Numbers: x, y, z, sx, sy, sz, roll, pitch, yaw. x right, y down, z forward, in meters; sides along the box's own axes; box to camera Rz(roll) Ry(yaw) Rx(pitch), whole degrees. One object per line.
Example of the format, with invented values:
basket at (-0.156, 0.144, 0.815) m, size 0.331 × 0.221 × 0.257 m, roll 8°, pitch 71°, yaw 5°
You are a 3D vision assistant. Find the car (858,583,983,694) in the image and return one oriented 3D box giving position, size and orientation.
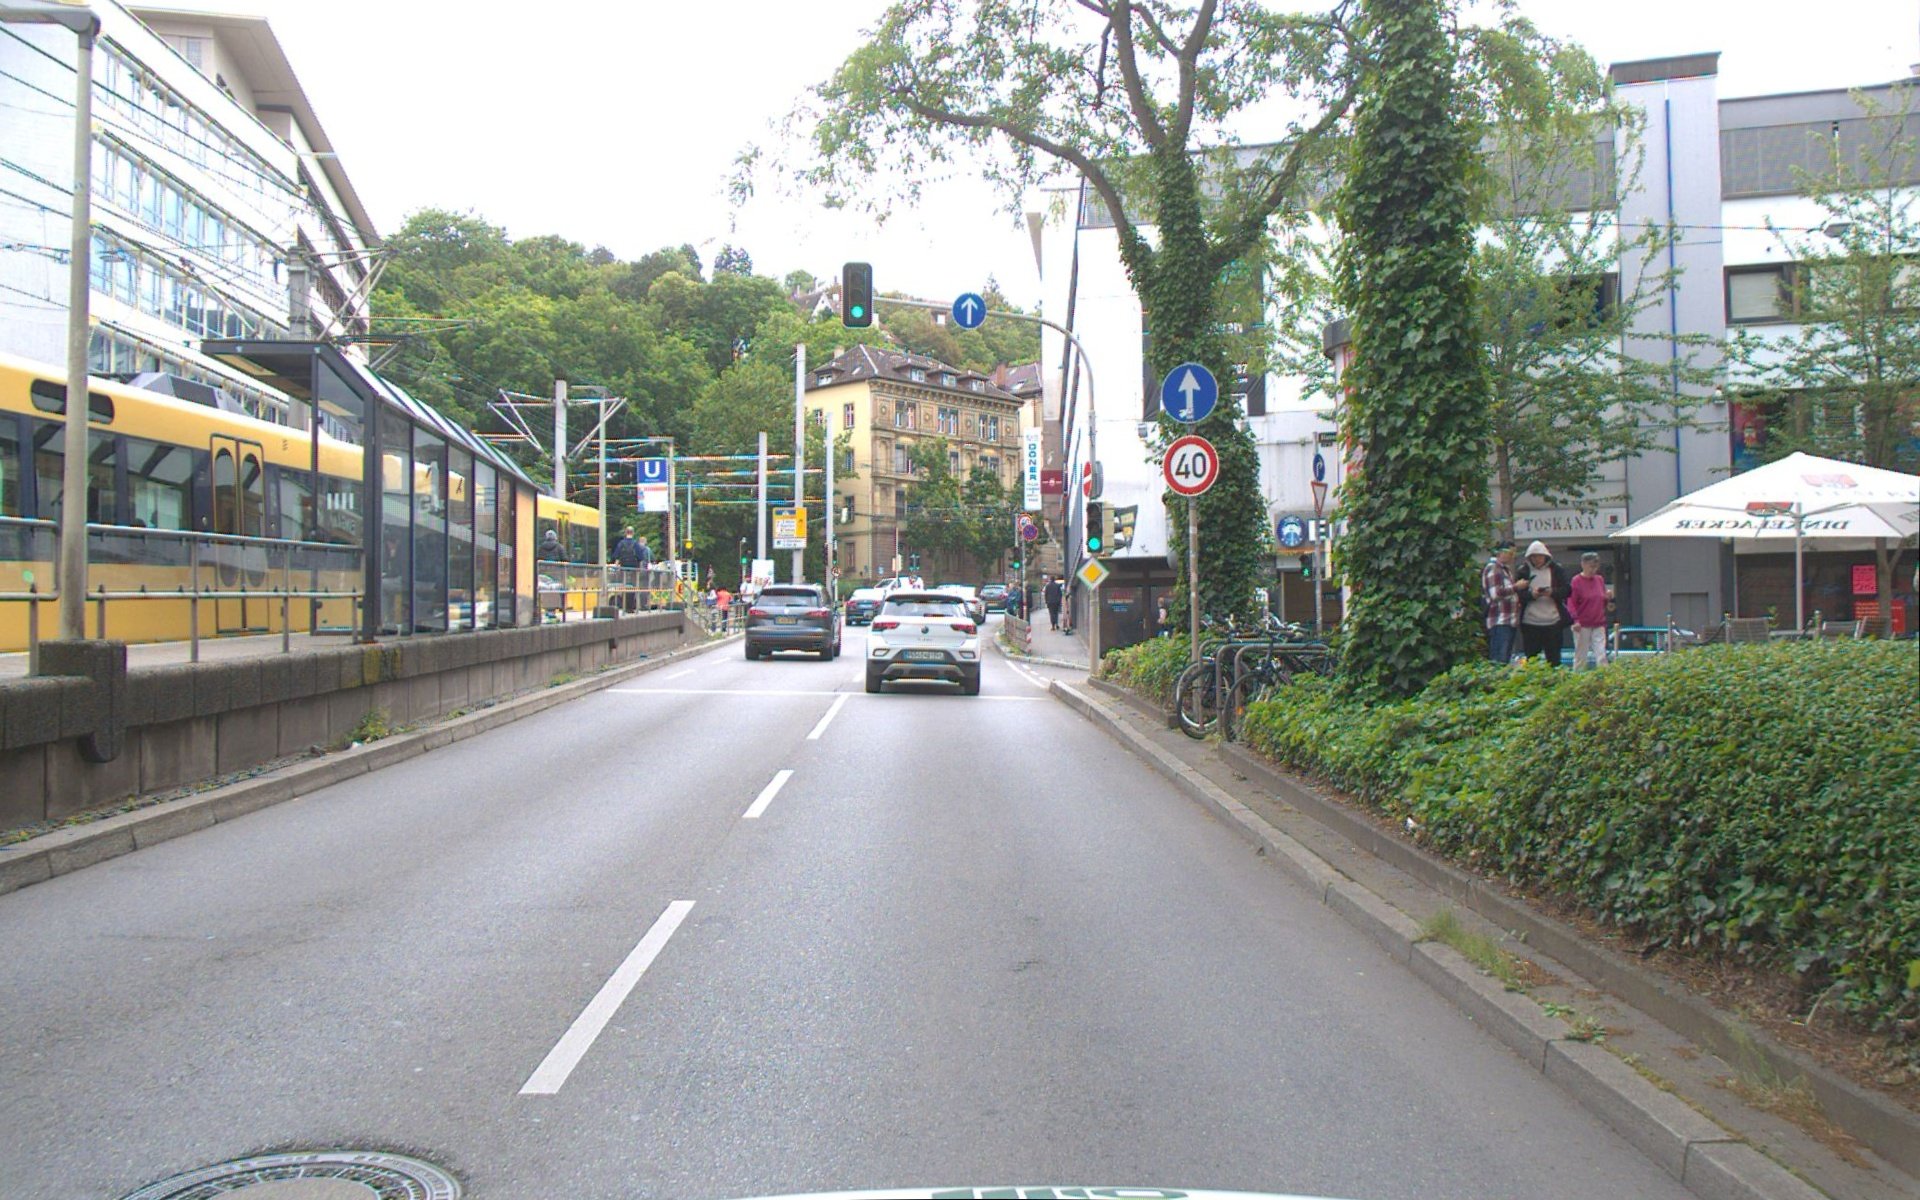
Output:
car at (-0.574, 0.575, 26.296) m, size 1.800 × 1.611 × 4.156 m, roll 1°, pitch 0°, yaw 0°

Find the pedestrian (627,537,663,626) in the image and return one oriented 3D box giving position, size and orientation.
pedestrian at (-7.386, -0.418, 38.834) m, size 0.747 × 2.049 × 0.837 m, roll 1°, pitch -2°, yaw -7°

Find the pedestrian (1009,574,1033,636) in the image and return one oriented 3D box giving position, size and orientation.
pedestrian at (2.057, 0.180, 55.808) m, size 0.746 × 2.049 × 0.839 m, roll 1°, pitch -2°, yaw 5°

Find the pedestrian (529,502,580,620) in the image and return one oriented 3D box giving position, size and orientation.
pedestrian at (-7.193, -0.675, 29.389) m, size 0.747 × 2.049 × 0.837 m, roll 1°, pitch -2°, yaw -7°

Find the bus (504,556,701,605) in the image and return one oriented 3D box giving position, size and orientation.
bus at (-24.223, -1.348, 111.903) m, size 13.001 × 3.119 × 3.384 m, roll 0°, pitch -2°, yaw 17°

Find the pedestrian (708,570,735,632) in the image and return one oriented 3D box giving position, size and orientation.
pedestrian at (-8.059, 0.044, 55.943) m, size 0.746 × 2.049 × 0.838 m, roll 1°, pitch -2°, yaw -1°

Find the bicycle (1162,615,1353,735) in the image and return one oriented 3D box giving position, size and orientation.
bicycle at (2.987, 0.752, 16.760) m, size 1.841 × 1.157 × 0.808 m, roll 1°, pitch -2°, yaw 6°

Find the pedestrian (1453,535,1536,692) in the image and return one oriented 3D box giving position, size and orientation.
pedestrian at (5.726, 0.158, 17.731) m, size 0.626 × 1.643 × 0.584 m, roll 2°, pitch -2°, yaw -21°

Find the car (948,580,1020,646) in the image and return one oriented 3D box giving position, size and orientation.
car at (0.605, 0.394, 45.421) m, size 1.846 × 1.713 × 4.160 m, roll 1°, pitch -2°, yaw -1°

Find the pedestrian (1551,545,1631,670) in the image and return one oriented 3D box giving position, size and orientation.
pedestrian at (7.198, 0.090, 18.871) m, size 0.626 × 1.392 × 0.584 m, roll 2°, pitch -2°, yaw -21°

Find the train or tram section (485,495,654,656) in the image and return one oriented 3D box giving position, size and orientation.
train or tram section at (-9.739, -0.536, 42.002) m, size 2.756 × 3.731 × 6.749 m, roll 1°, pitch -1°, yaw -1°

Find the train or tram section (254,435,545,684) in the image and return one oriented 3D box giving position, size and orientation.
train or tram section at (-9.362, -0.582, 28.513) m, size 2.756 × 3.731 × 6.749 m, roll 1°, pitch -1°, yaw -1°

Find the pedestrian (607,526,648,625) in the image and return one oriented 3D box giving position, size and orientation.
pedestrian at (-7.060, -0.515, 35.111) m, size 0.747 × 2.049 × 0.837 m, roll 1°, pitch -2°, yaw -7°

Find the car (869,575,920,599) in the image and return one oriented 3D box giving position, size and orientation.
car at (-4.896, -0.937, 124.499) m, size 1.878 × 1.719 × 3.989 m, roll 1°, pitch 0°, yaw 33°

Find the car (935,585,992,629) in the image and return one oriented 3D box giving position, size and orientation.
car at (0.097, 0.320, 67.887) m, size 1.849 × 1.713 × 4.154 m, roll 1°, pitch -2°, yaw -7°

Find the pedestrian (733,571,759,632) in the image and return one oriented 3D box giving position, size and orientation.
pedestrian at (-7.269, 0.066, 56.269) m, size 0.746 × 2.049 × 0.838 m, roll 1°, pitch -2°, yaw 0°

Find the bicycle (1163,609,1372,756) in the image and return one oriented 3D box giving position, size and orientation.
bicycle at (2.828, 0.748, 15.267) m, size 1.840 × 1.288 × 0.765 m, roll 1°, pitch -2°, yaw 10°

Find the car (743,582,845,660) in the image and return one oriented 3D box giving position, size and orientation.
car at (-3.699, 0.443, 37.421) m, size 1.953 × 1.664 × 3.999 m, roll 0°, pitch 0°, yaw -1°

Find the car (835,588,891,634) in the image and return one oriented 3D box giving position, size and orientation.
car at (-3.834, 0.411, 65.937) m, size 1.872 × 1.719 × 4.001 m, roll 1°, pitch 0°, yaw 2°

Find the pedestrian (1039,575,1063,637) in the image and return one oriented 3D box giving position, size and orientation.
pedestrian at (3.062, 0.216, 55.431) m, size 0.746 × 2.049 × 0.839 m, roll 1°, pitch -2°, yaw 5°

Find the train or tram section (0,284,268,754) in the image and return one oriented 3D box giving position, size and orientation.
train or tram section at (-9.045, -0.640, 14.972) m, size 2.756 × 3.731 × 6.749 m, roll 1°, pitch -1°, yaw -1°

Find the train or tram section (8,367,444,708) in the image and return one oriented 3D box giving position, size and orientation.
train or tram section at (-9.192, -0.661, 21.731) m, size 2.756 × 3.731 × 6.749 m, roll 1°, pitch -1°, yaw -1°

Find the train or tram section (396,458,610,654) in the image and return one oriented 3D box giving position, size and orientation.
train or tram section at (-9.515, -0.813, 35.262) m, size 2.756 × 3.731 × 6.749 m, roll 1°, pitch -1°, yaw -1°

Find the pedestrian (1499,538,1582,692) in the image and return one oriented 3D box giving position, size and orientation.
pedestrian at (6.305, 0.171, 17.979) m, size 0.626 × 1.636 × 0.584 m, roll 2°, pitch -2°, yaw -21°
